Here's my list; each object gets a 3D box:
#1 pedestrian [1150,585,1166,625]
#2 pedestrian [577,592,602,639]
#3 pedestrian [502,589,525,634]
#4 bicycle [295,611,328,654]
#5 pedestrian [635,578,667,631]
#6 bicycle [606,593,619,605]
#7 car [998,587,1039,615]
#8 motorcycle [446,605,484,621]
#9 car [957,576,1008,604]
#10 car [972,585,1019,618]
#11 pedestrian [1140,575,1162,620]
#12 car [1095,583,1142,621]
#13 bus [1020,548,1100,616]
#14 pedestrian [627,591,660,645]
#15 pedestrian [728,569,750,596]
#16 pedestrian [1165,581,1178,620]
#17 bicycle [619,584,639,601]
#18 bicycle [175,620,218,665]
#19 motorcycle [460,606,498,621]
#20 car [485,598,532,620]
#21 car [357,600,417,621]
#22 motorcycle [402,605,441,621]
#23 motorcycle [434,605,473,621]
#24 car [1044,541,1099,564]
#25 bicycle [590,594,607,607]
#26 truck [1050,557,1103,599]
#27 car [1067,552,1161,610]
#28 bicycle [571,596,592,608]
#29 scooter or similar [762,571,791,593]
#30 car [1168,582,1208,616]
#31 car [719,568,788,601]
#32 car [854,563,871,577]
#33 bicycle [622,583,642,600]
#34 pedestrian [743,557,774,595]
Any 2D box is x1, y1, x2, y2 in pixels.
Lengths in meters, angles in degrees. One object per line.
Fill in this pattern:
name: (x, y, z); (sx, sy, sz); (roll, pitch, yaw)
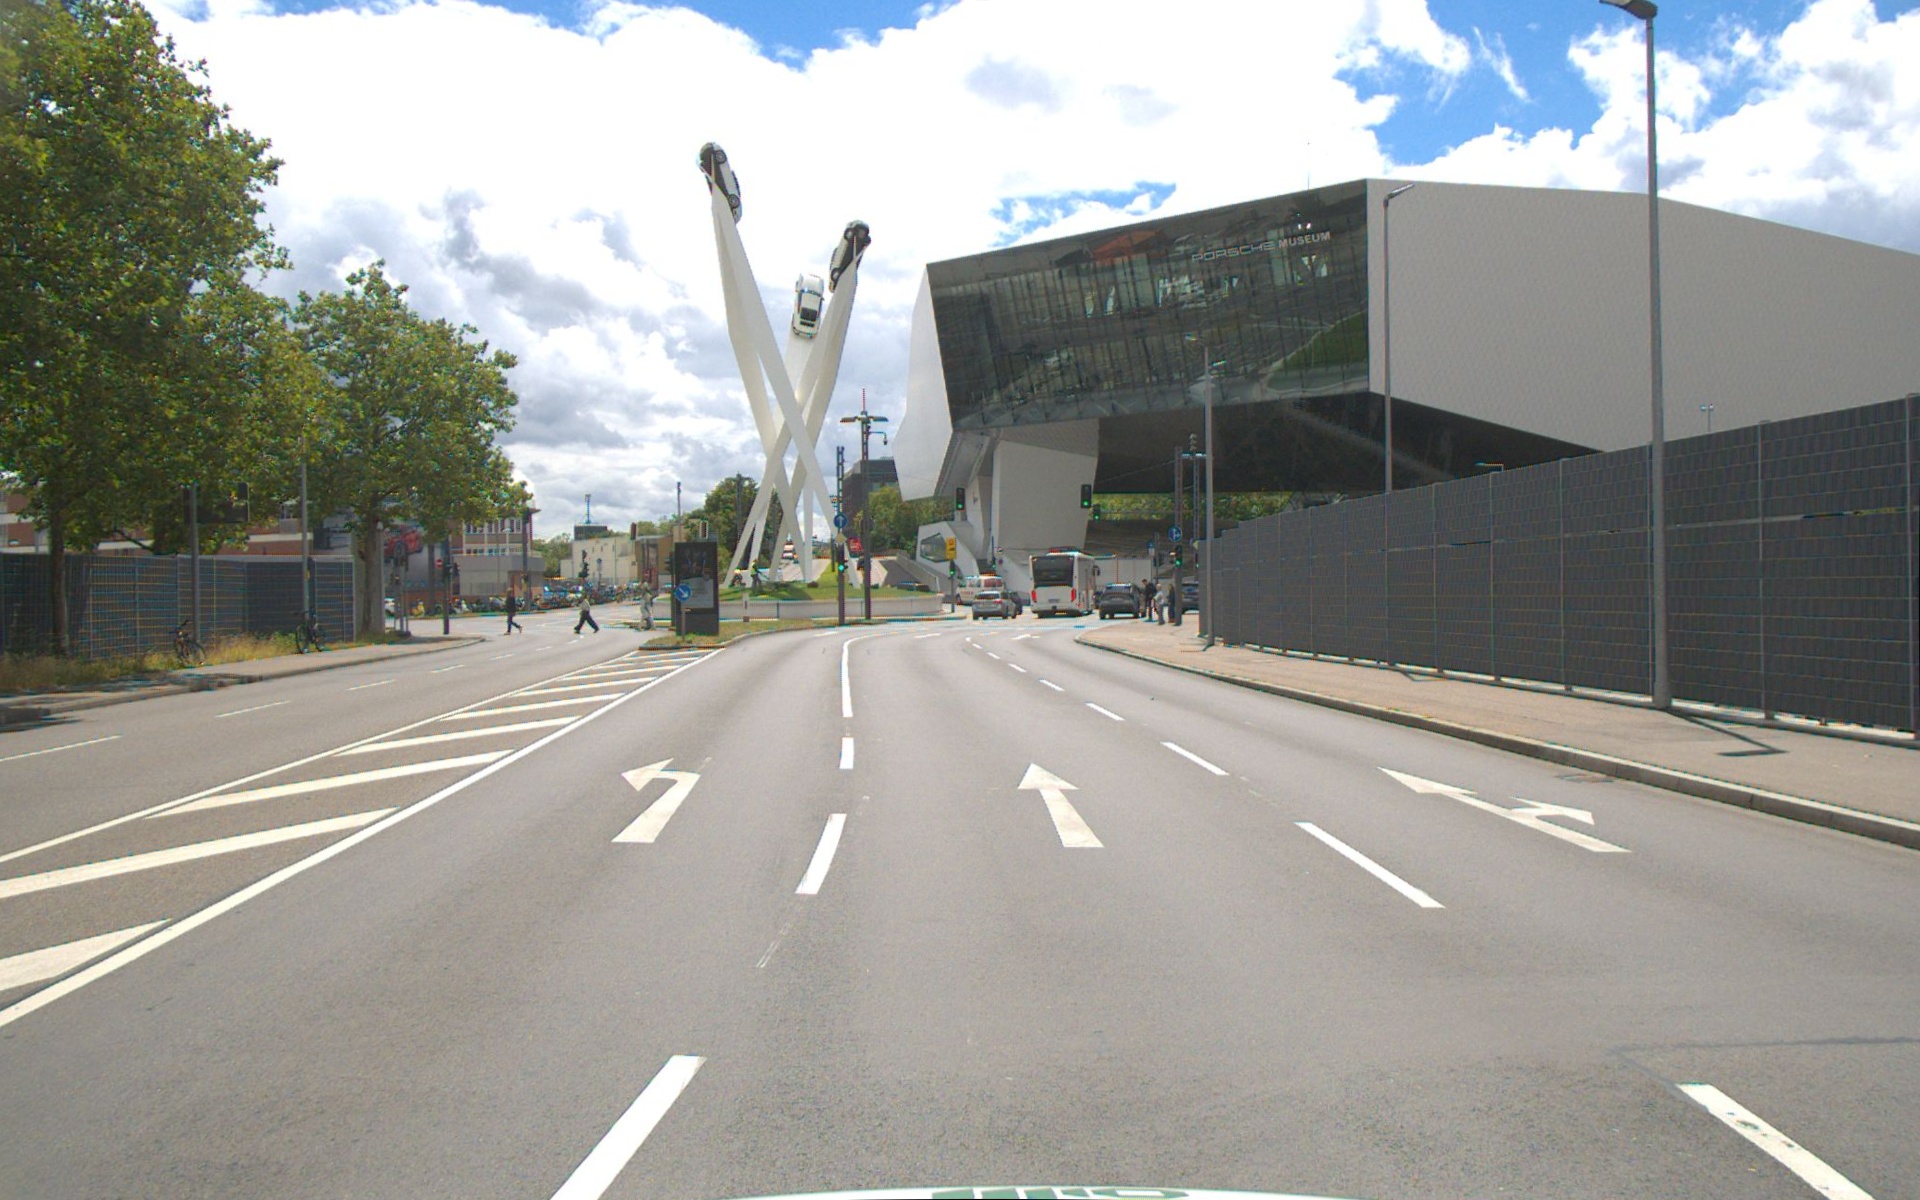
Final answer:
pedestrian: (8.074, 0.204, 67.386); (0.645, 1.636, 0.823); (0, -1, 7)
pedestrian: (-14.462, 0.595, 64.504); (0.850, 1.805, 1.030); (1, -1, -18)
pedestrian: (-18.003, 0.467, 66.712); (0.850, 1.805, 1.030); (1, -1, -18)
bicycle: (-17.449, 0.871, 44.522); (0.290, 1.151, 1.484); (0, -1, -1)
pedestrian: (-12.428, 0.177, 66.447); (0.932, 2.091, 0.952); (0, -1, 15)
bicycle: (-27.822, -0.104, 132.401); (0.480, 0.881, 1.613); (-1, 3, 7)
car: (3.554, 0.056, 100.219); (1.951, 1.665, 4.003); (0, 0, 9)
motorcycle: (-39.676, 1.029, 132.578); (2.841, 1.217, 0.921); (0, -1, 14)
car: (1.550, -0.674, 114.946); (1.970, 1.937, 3.965); (1, -1, -27)
car: (1.878, 0.104, 85.755); (1.951, 1.665, 4.003); (0, 0, 9)
pedestrian: (8.210, -0.102, 71.039); (0.649, 1.899, 0.789); (1, -1, -18)
car: (7.476, 0.061, 77.663); (1.951, 1.665, 4.004); (0, 2, 9)
bus: (5.573, -0.849, 89.610); (3.006, 3.421, 12.233); (0, 0, 10)
pedestrian: (-12.525, 0.713, 65.451); (0.932, 2.091, 0.952); (0, -1, 15)
pedestrian: (-13.019, -1.029, 97.580); (0.835, 1.431, 0.965); (-7, -3, 18)
pedestrian: (8.995, 0.008, 70.391); (0.454, 1.644, 0.663); (0, -1, -1)
bicycle: (-27.060, -0.605, 135.173); (1.574, 1.339, 0.492); (0, -1, -5)
bicycle: (-17.562, 0.971, 38.068); (0.290, 1.023, 1.253); (0, -1, 6)
motorcycle: (-39.293, 1.071, 135.114); (2.841, 1.217, 0.921); (0, -1, 14)
car: (-38.464, 0.792, 140.884); (3.397, 1.835, 1.705); (0, -1, 12)
car: (-43.698, 0.788, 126.101); (3.902, 1.527, 2.001); (0, -1, 16)
motorcycle: (-41.858, 0.998, 128.483); (2.841, 1.217, 0.921); (0, -1, 14)
motorcycle: (-40.275, 1.037, 131.504); (2.841, 1.217, 0.921); (0, -1, 14)
car: (9.530, -4.114, 141.940); (4.437, 1.418, 1.988); (9, 11, 42)
bicycle: (-28.408, 0.055, 129.962); (0.481, 0.881, 1.611); (0, 4, 24)
truck: (7.360, -1.372, 104.657); (2.167, 2.560, 5.120); (1, -1, -10)
car: (9.805, -1.147, 106.617); (3.278, 3.565, 9.309); (1, 0, -13)
bicycle: (-29.385, 0.153, 128.411); (0.483, 0.881, 1.605); (0, 2, 36)
scooter or similar: (-9.595, -0.939, 86.465); (1.382, 1.043, 0.546); (-5, 7, -23)
car: (11.591, -0.028, 83.839); (1.951, 1.665, 4.003); (0, 0, 9)
car: (-14.574, -1.082, 116.801); (4.543, 2.209, 2.001); (0, -1, 3)
car: (-11.603, -3.605, 197.595); (1.953, 1.664, 4.654); (0, 2, -2)
bicycle: (-27.125, -0.677, 136.705); (1.574, 1.407, 0.492); (0, -1, -5)
pedestrian: (-10.501, -1.270, 86.177); (1.263, 1.847, 0.981); (-5, 4, -20)
